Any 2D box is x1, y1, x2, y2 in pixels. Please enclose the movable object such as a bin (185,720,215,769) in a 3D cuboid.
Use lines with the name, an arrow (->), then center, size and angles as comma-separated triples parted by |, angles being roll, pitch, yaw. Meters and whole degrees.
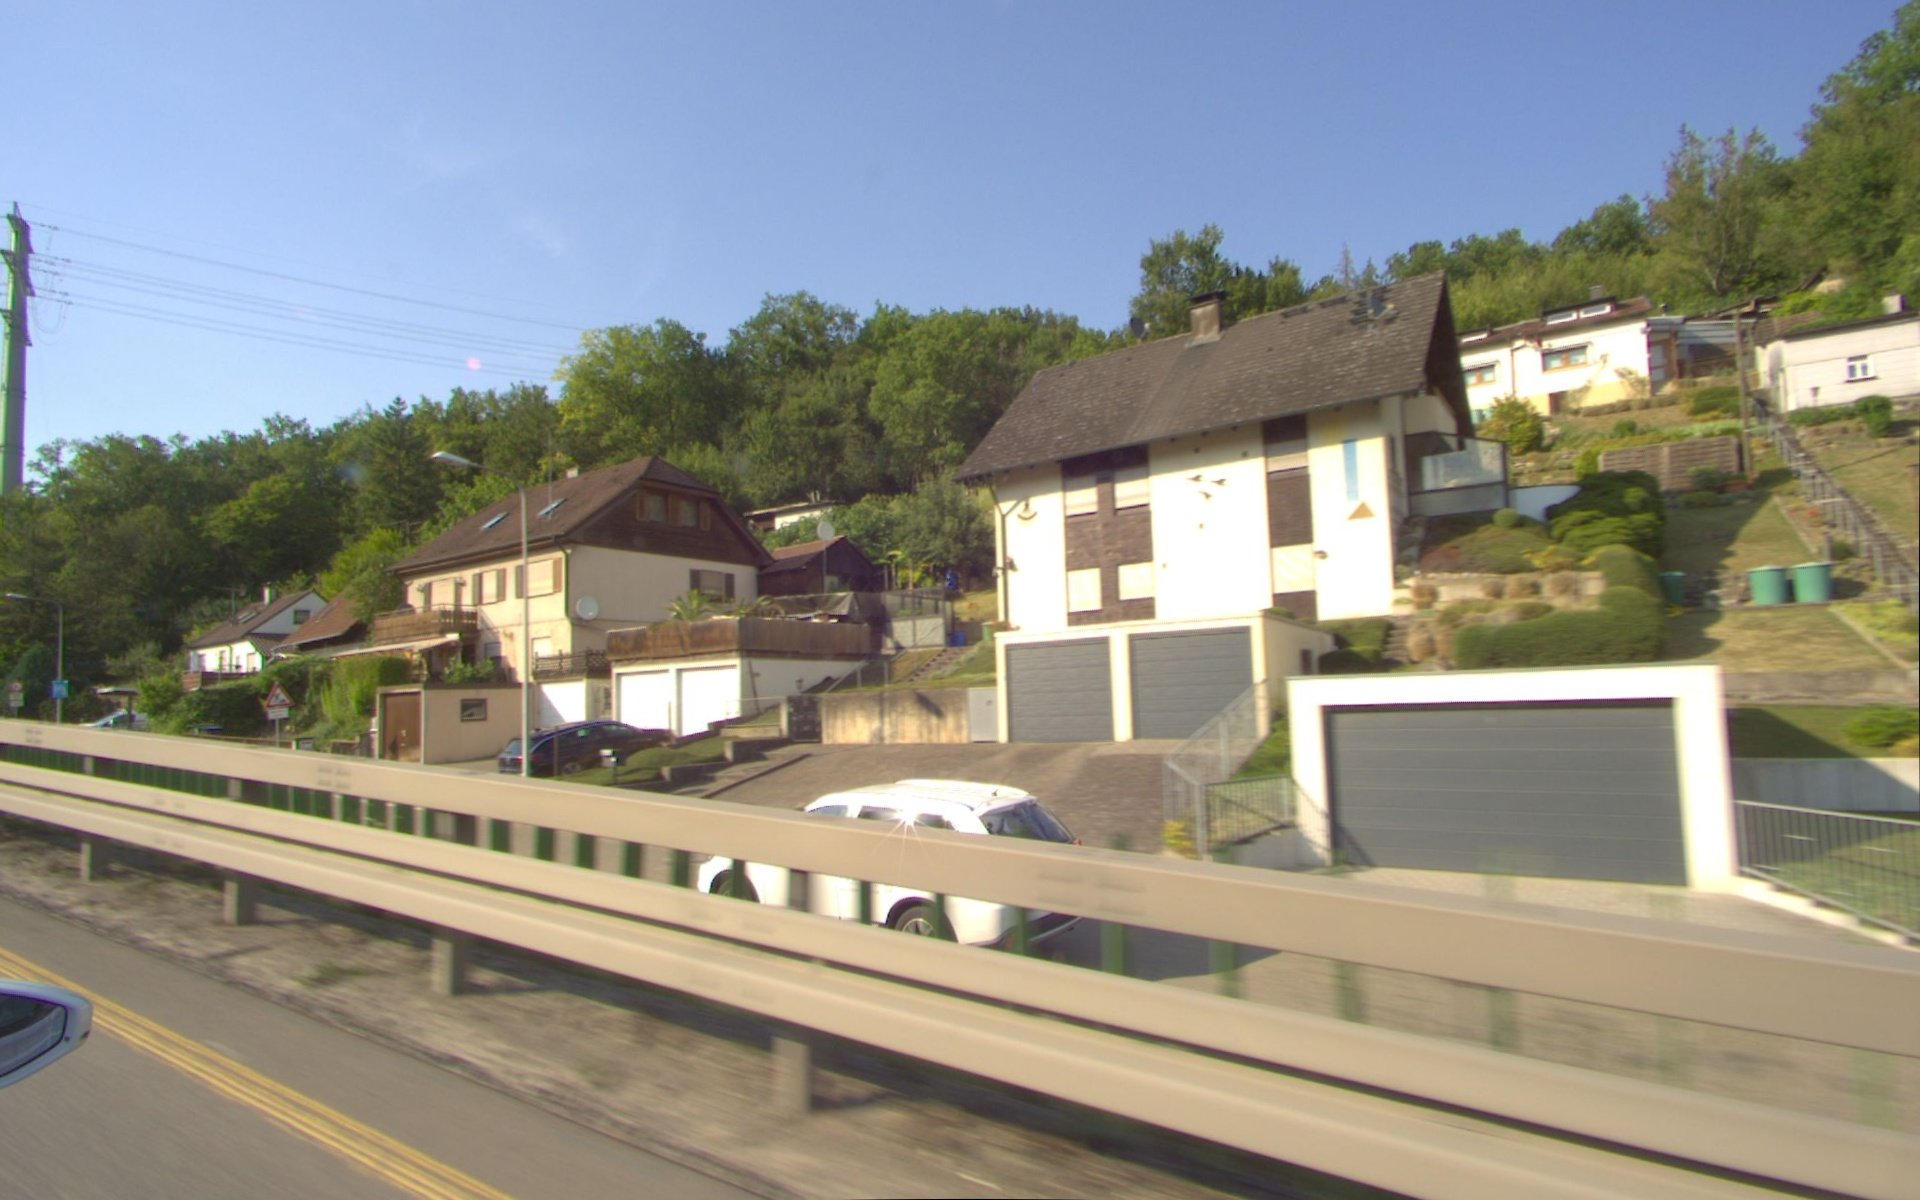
movable object such as a bin -> -28.779, 5.470, 37.915 | 0.411, 1.786, 0.529 | -4, -13, 40

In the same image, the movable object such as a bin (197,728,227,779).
movable object such as a bin -> -27.477, 5.635, 36.780 | 0.409, 1.786, 0.489 | -4, -13, 40

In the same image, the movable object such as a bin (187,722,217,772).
movable object such as a bin -> -28.466, 5.528, 37.620 | 0.404, 1.786, 0.535 | -4, -13, 40

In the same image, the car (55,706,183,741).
car -> -45.933, 6.718, 54.804 | 1.693, 1.575, 5.080 | -3, -5, 34

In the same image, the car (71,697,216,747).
car -> -42.261, 6.266, 51.970 | 1.974, 2.291, 5.456 | -3, -5, 34

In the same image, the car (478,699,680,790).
car -> -9.811, 3.666, 26.106 | 1.975, 1.545, 4.476 | -4, 1, 36

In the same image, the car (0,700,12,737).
car -> -53.725, 6.512, 54.830 | 4.806, 1.940, 1.989 | -4, -4, 38

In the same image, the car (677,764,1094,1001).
car -> -0.937, 2.774, 10.692 | 4.415, 1.682, 1.663 | -4, -3, 36

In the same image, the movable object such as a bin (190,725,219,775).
movable object such as a bin -> -28.153, 5.590, 37.340 | 0.409, 1.786, 0.489 | -4, -13, 40
